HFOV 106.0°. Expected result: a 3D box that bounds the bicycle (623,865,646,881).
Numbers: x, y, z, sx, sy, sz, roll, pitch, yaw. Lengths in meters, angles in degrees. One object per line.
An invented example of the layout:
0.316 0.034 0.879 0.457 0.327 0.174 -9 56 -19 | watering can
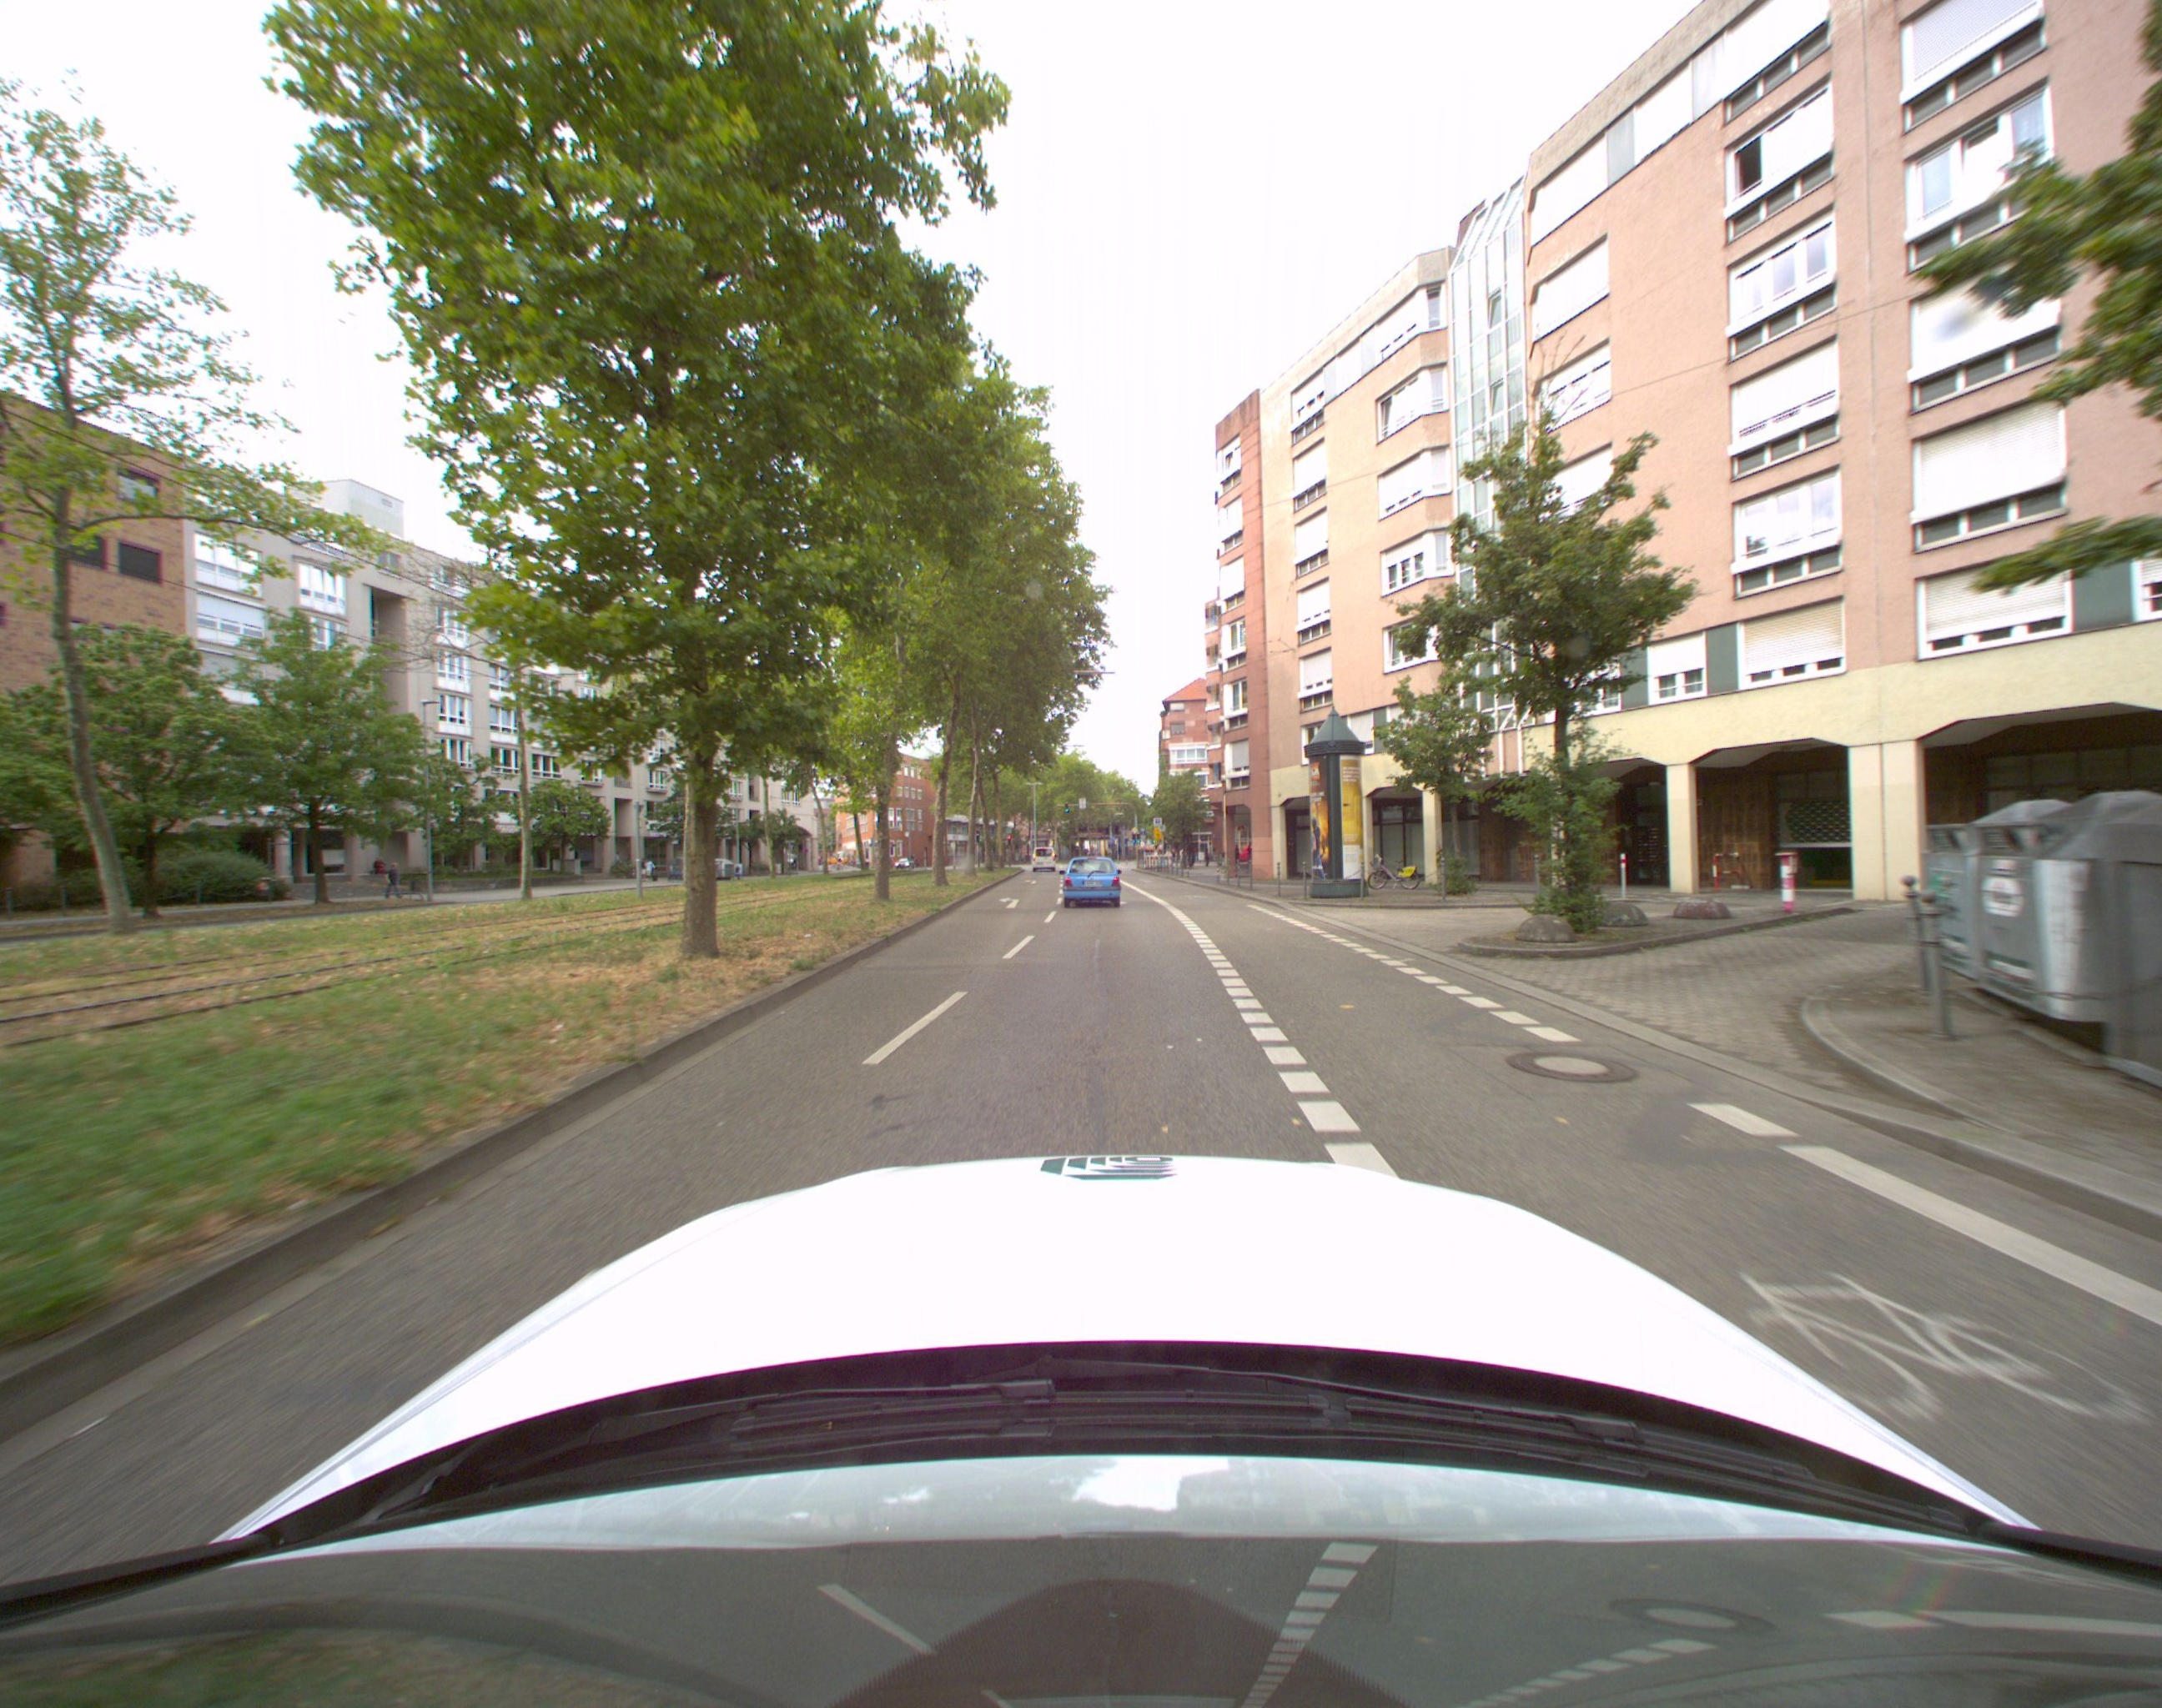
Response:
-34.843 1.496 63.574 0.531 1.212 1.842 -1 0 6 | bicycle

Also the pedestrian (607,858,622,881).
-36.722 1.202 64.132 0.765 1.809 0.694 -1 0 8 | pedestrian

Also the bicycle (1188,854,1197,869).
8.396 0.569 61.533 0.609 1.118 1.807 -1 0 6 | bicycle

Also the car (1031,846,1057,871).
-2.981 0.346 66.571 1.926 1.925 4.953 -1 0 -1 | car

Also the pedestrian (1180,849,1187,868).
10.139 0.412 80.666 0.673 1.828 0.852 -1 0 5 | pedestrian

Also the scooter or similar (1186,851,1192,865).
9.551 0.371 71.884 0.471 1.206 1.332 -1 0 5 | scooter or similar

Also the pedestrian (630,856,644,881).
-31.535 1.012 57.826 0.550 1.705 0.627 -1 0 3 | pedestrian

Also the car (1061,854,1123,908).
0.264 0.725 23.653 1.636 1.386 3.841 -1 0 -1 | car

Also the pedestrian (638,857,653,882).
-30.927 1.088 57.851 0.550 1.705 0.885 -1 0 3 | pedestrian

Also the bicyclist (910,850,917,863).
-24.189 0.324 117.742 0.664 1.848 1.082 -2 0 3 | bicyclist

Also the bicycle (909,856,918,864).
-24.170 0.839 117.658 0.674 1.093 2.211 -2 0 3 | bicycle

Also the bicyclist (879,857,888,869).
-26.258 1.161 108.372 1.039 1.562 0.576 -1 -1 -38 | bicyclist

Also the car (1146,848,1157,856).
14.226 -0.445 163.442 1.688 1.601 4.012 -1 0 11 | car

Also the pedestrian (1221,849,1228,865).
11.989 0.261 67.929 0.483 1.324 0.487 -1 0 13 | pedestrian

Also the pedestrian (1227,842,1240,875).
7.891 0.232 42.226 0.539 1.650 0.829 -1 0 17 | pedestrian

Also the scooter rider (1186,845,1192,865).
9.572 0.070 72.199 0.461 1.720 0.553 -1 0 2 | scooter rider

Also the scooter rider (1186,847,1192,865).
9.524 0.152 71.596 0.459 1.557 0.565 -1 0 3 | scooter rider

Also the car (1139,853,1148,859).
16.652 0.599 215.644 1.874 1.624 4.012 -1 0 11 | car

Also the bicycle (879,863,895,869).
-25.823 1.594 108.616 1.997 0.836 0.572 -1 0 -38 | bicycle

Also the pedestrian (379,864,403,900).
-32.649 1.320 38.532 0.550 1.705 0.627 -1 0 3 | pedestrian

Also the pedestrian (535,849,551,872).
-39.641 0.483 60.024 0.633 1.672 0.661 -1 0 7 | pedestrian

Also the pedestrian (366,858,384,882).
-39.266 0.884 45.277 0.454 1.323 0.556 -1 0 10 | pedestrian

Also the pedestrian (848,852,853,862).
-39.445 0.519 139.115 0.696 1.817 0.650 -1 -1 -28 | pedestrian

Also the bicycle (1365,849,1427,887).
9.848 0.433 25.523 1.644 1.129 0.675 -3 -1 40 | bicycle

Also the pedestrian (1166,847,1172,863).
8.617 0.096 79.744 0.514 1.616 0.852 -1 0 5 | pedestrian

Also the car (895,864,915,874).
-22.643 1.893 104.899 1.725 1.245 4.531 -1 0 -2 | car

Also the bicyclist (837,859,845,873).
-30.173 1.495 102.269 0.788 1.672 0.567 -1 0 -38 | bicyclist

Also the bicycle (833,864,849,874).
-30.151 1.886 102.262 1.886 1.092 0.571 -1 0 -38 | bicycle

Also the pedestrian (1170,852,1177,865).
10.552 0.509 92.764 0.672 1.538 0.949 -1 0 6 | pedestrian
